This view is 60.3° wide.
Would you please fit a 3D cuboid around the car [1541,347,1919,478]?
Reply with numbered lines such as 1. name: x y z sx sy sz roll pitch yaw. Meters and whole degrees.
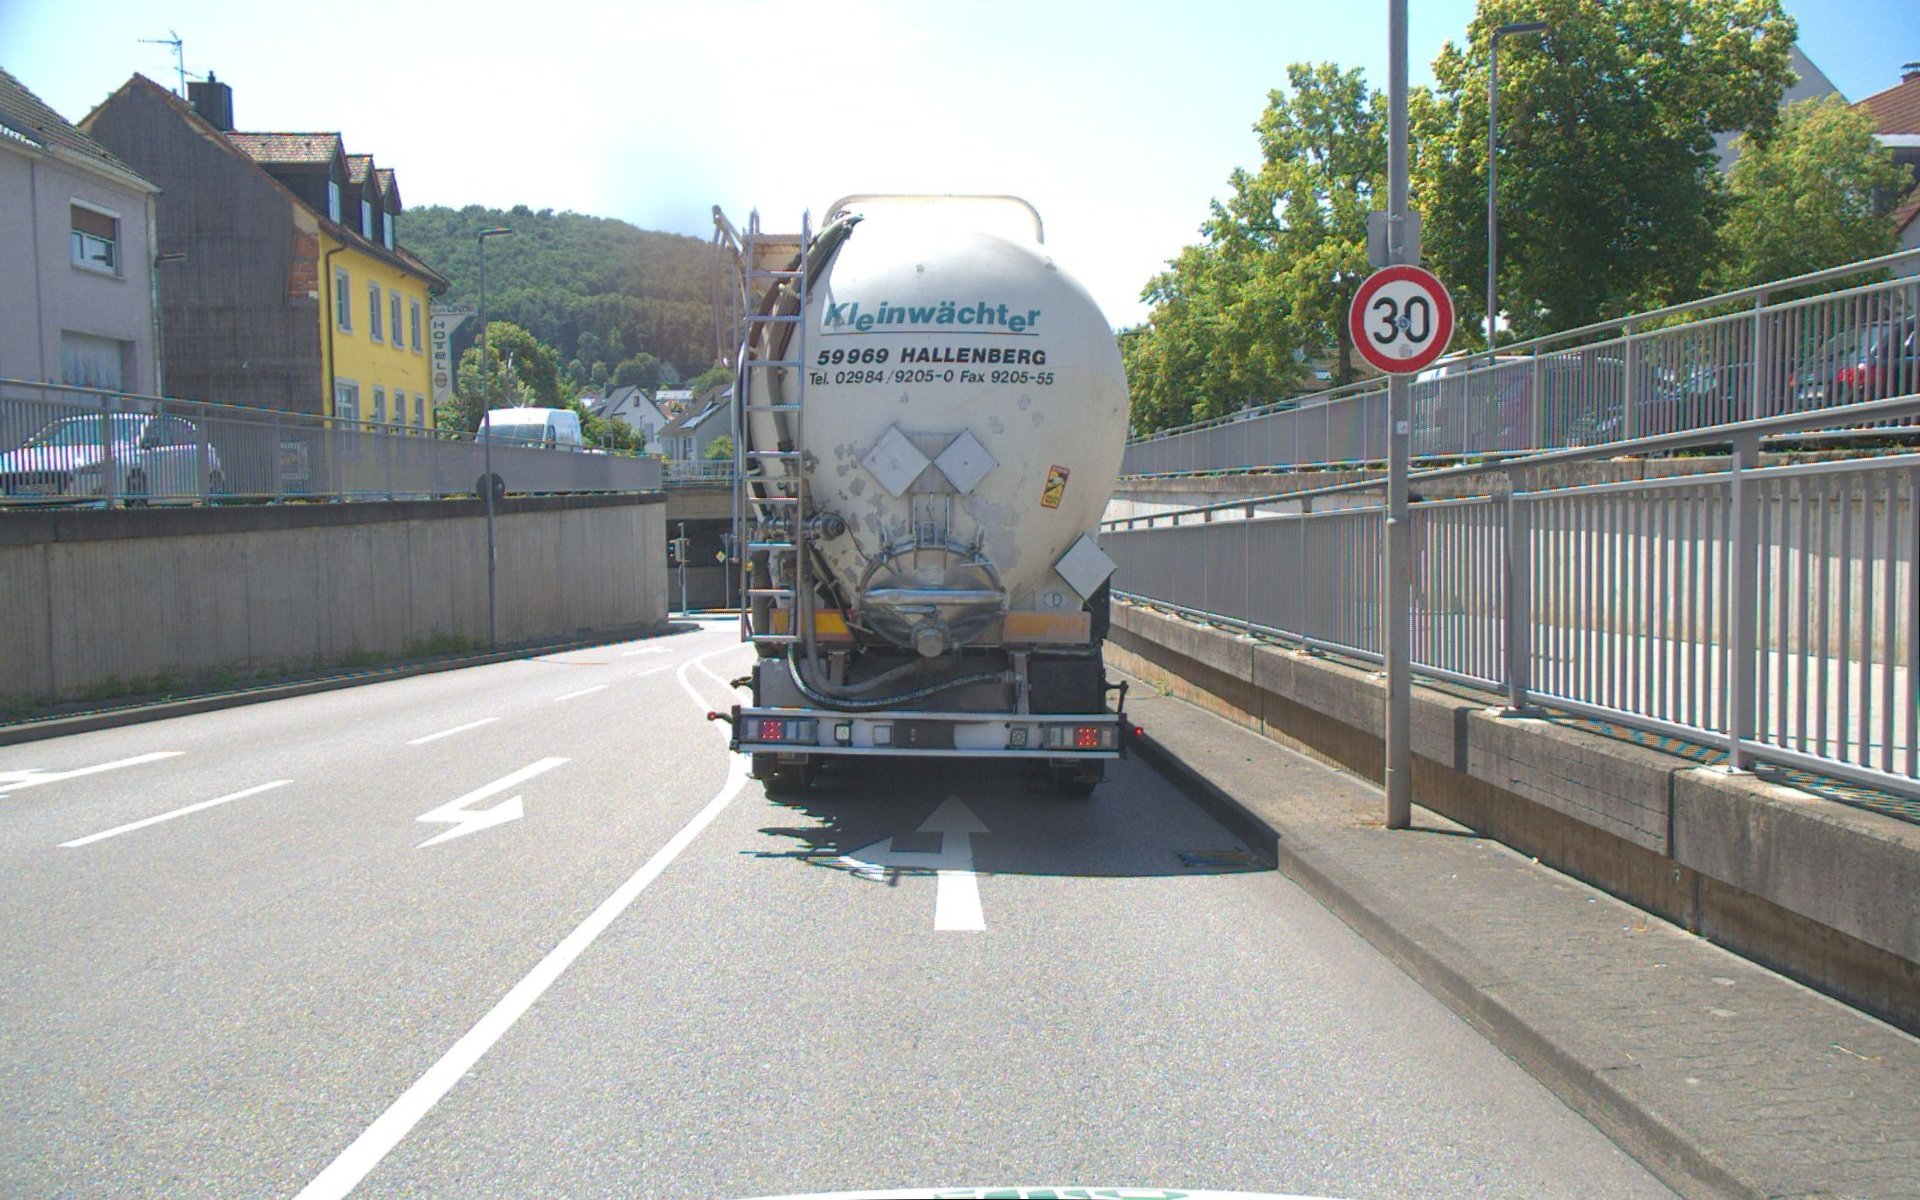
1. car: 9.858 -2.373 21.231 4.198 1.524 1.749 -1 3 0

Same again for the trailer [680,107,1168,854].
1. trailer: -0.205 -0.693 15.865 2.679 4.135 13.312 0 0 0

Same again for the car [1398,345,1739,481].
1. car: 10.130 -3.103 27.809 5.007 2.099 1.989 -1 3 0

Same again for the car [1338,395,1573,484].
1. car: 9.679 -3.137 32.499 4.118 1.623 1.687 -1 3 0

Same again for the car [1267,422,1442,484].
1. car: 9.440 -3.517 39.782 3.825 1.391 1.687 -1 3 0

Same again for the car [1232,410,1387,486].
1. car: 9.391 -4.087 44.651 3.825 1.917 1.687 -1 3 0

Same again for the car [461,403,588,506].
1. car: -11.741 -3.887 45.009 2.023 2.580 5.662 1 4 -1

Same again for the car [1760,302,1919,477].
1. car: 10.005 -1.970 15.594 4.118 1.524 1.687 -1 3 0

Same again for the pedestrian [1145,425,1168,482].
1. pedestrian: 6.387 -4.753 53.749 0.659 1.810 0.594 -1 3 1

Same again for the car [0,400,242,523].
1. car: -11.545 -1.843 22.396 1.776 1.487 4.311 1 4 -1

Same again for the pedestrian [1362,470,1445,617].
1. pedestrian: 5.592 -0.710 20.880 0.819 1.813 0.788 -1 1 -1

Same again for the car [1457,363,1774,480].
1. car: 9.818 -2.665 24.978 4.118 1.623 1.687 -1 3 0
